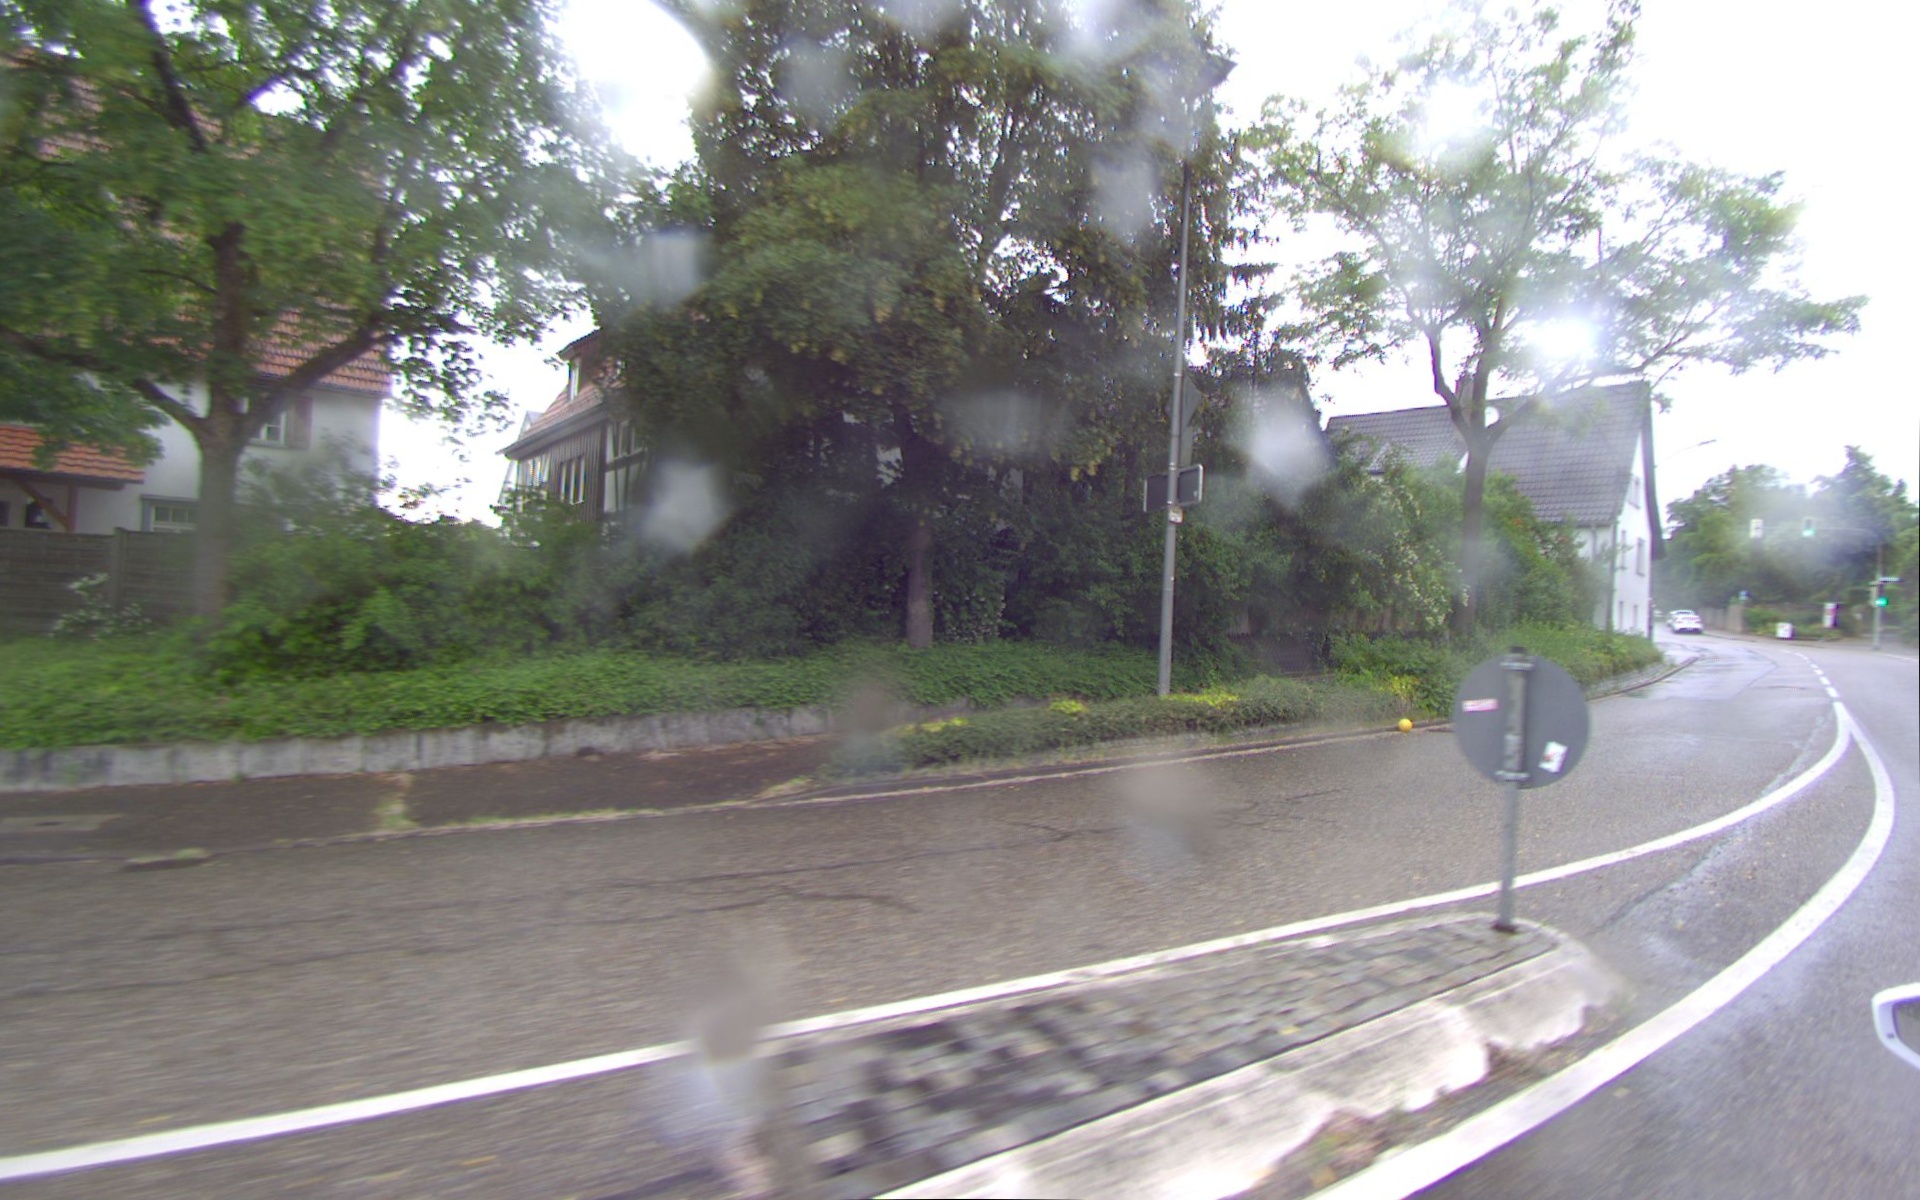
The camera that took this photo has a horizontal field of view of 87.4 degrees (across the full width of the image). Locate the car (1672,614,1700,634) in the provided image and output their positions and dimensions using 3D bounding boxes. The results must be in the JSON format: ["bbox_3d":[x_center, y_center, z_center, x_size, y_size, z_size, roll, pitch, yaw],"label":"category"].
[{"bbox_3d":[57.426,1.851,79.490,1.589,1.500,4.027,2,0,33],"label":"car"}]

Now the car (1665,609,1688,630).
[{"bbox_3d":[63.135,1.727,88.522,1.615,1.764,4.122,1,0,35],"label":"car"}]
